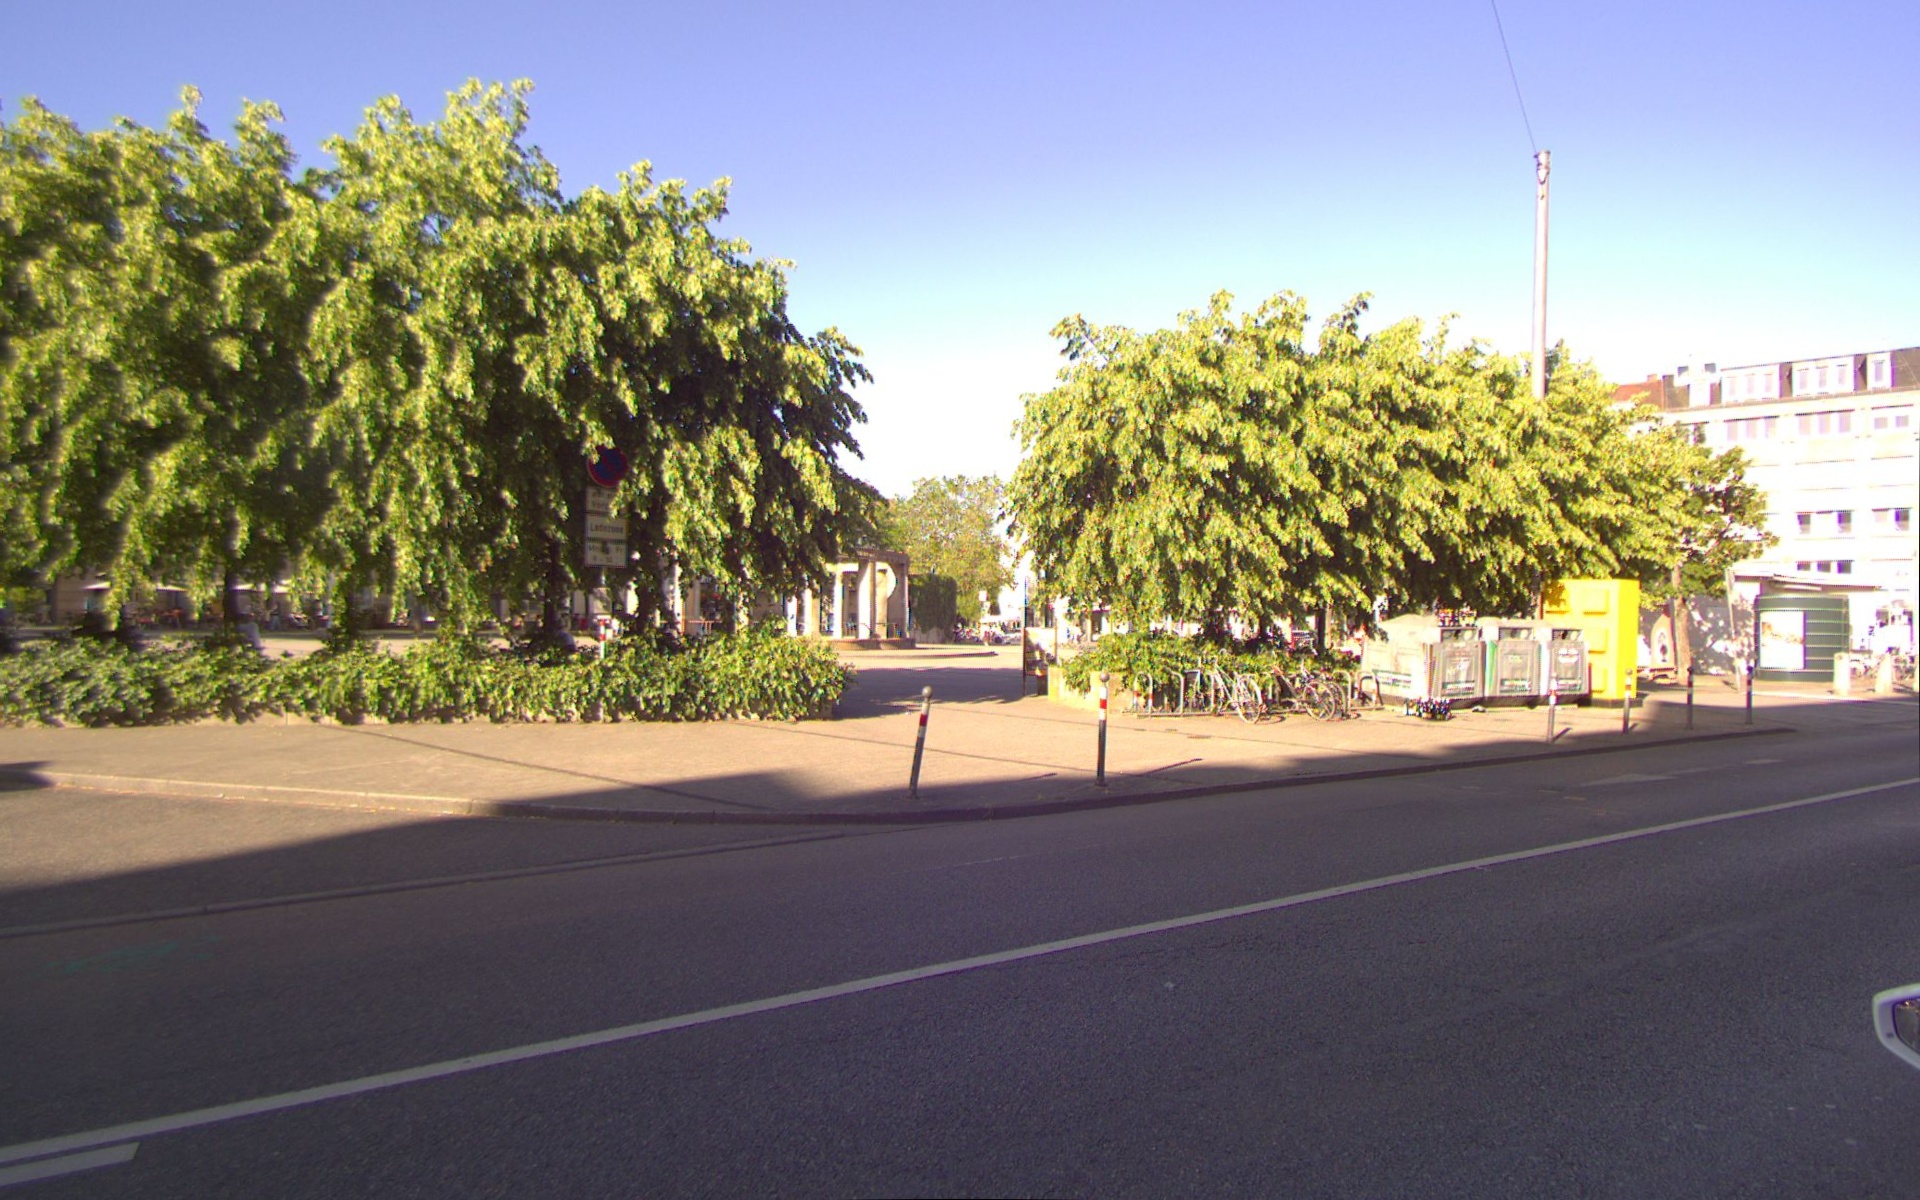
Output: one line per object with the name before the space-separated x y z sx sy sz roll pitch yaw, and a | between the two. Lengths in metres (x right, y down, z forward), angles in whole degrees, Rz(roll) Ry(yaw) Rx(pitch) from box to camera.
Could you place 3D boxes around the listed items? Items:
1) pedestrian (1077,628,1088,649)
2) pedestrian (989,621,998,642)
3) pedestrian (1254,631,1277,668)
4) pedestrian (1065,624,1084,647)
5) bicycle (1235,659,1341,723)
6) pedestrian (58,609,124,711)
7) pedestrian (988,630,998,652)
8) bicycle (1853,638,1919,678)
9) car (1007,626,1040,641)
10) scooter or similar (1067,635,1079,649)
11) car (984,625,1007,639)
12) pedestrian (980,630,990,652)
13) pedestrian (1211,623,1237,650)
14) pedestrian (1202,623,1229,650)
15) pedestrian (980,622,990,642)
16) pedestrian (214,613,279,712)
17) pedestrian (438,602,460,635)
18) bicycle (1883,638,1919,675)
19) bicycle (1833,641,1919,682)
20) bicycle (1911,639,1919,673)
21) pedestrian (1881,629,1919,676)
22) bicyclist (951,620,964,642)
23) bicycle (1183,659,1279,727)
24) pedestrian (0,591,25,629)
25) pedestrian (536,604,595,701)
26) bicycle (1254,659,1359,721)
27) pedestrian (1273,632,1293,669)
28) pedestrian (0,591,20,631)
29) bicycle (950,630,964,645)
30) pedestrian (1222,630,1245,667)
pedestrian | 8.927 2.804 73.338 0.614 1.544 0.579 2 0 25
pedestrian | 3.494 3.265 104.319 0.836 2.040 0.855 2 0 10
pedestrian | 12.986 2.098 42.746 0.761 1.541 0.838 2 0 6
pedestrian | 9.635 2.974 84.603 1.277 1.867 1.100 2 0 28
bicycle | 5.264 1.443 16.186 0.465 0.870 1.659 2 0 -35
pedestrian | -12.869 0.871 14.884 0.615 1.456 0.647 2 0 -32
pedestrian | 2.365 2.949 72.377 0.569 1.544 0.625 2 0 -13
bicycle | 33.133 2.040 35.067 0.923 1.291 2.764 2 0 -32
car | 5.678 2.996 90.263 2.711 1.283 1.239 2 0 37
scooter or similar | 8.293 3.069 73.656 0.775 0.970 0.464 2 0 25
car | 4.008 3.651 114.398 1.525 1.550 4.123 1 -1 -13
pedestrian | 1.810 2.931 72.258 0.569 1.544 0.624 2 0 -14
pedestrian | 12.451 1.729 47.395 0.885 1.230 0.864 2 0 -15
pedestrian | 11.895 1.697 46.736 0.855 1.230 0.933 2 0 -15
pedestrian | 2.530 3.225 102.130 0.836 2.040 0.855 2 0 10
pedestrian | -10.861 0.933 15.302 0.581 1.456 0.615 2 0 33
pedestrian | -24.231 0.886 47.619 0.729 1.550 0.690 2 0 41
bicycle | 35.251 2.085 36.133 0.932 1.287 2.859 2 0 -32
bicycle | 31.211 2.064 33.764 0.932 1.211 2.645 2 0 -32
bicycle | 37.235 2.156 37.277 0.932 1.276 2.648 2 0 -32
pedestrian | 34.210 1.893 36.112 1.081 1.633 1.259 2 0 -24
bicyclist | -0.196 2.448 79.122 0.775 1.722 0.893 2 0 -15
bicycle | 4.165 1.410 15.527 0.464 0.897 1.558 2 0 -29
pedestrian | -38.863 0.402 41.028 0.680 1.550 0.684 2 0 1
pedestrian | -6.486 0.849 16.512 0.688 1.541 0.676 2 0 -41
bicycle | 5.663 1.453 16.481 0.465 0.870 1.654 2 0 -35
pedestrian | 13.701 2.120 42.608 0.598 1.528 0.557 2 0 -15
pedestrian | -38.375 0.436 40.277 0.680 1.545 0.684 2 0 0
bicycle | -0.241 2.975 79.314 0.595 1.116 1.983 2 0 -15
pedestrian | 11.879 2.104 43.610 0.904 1.541 0.936 2 0 15
